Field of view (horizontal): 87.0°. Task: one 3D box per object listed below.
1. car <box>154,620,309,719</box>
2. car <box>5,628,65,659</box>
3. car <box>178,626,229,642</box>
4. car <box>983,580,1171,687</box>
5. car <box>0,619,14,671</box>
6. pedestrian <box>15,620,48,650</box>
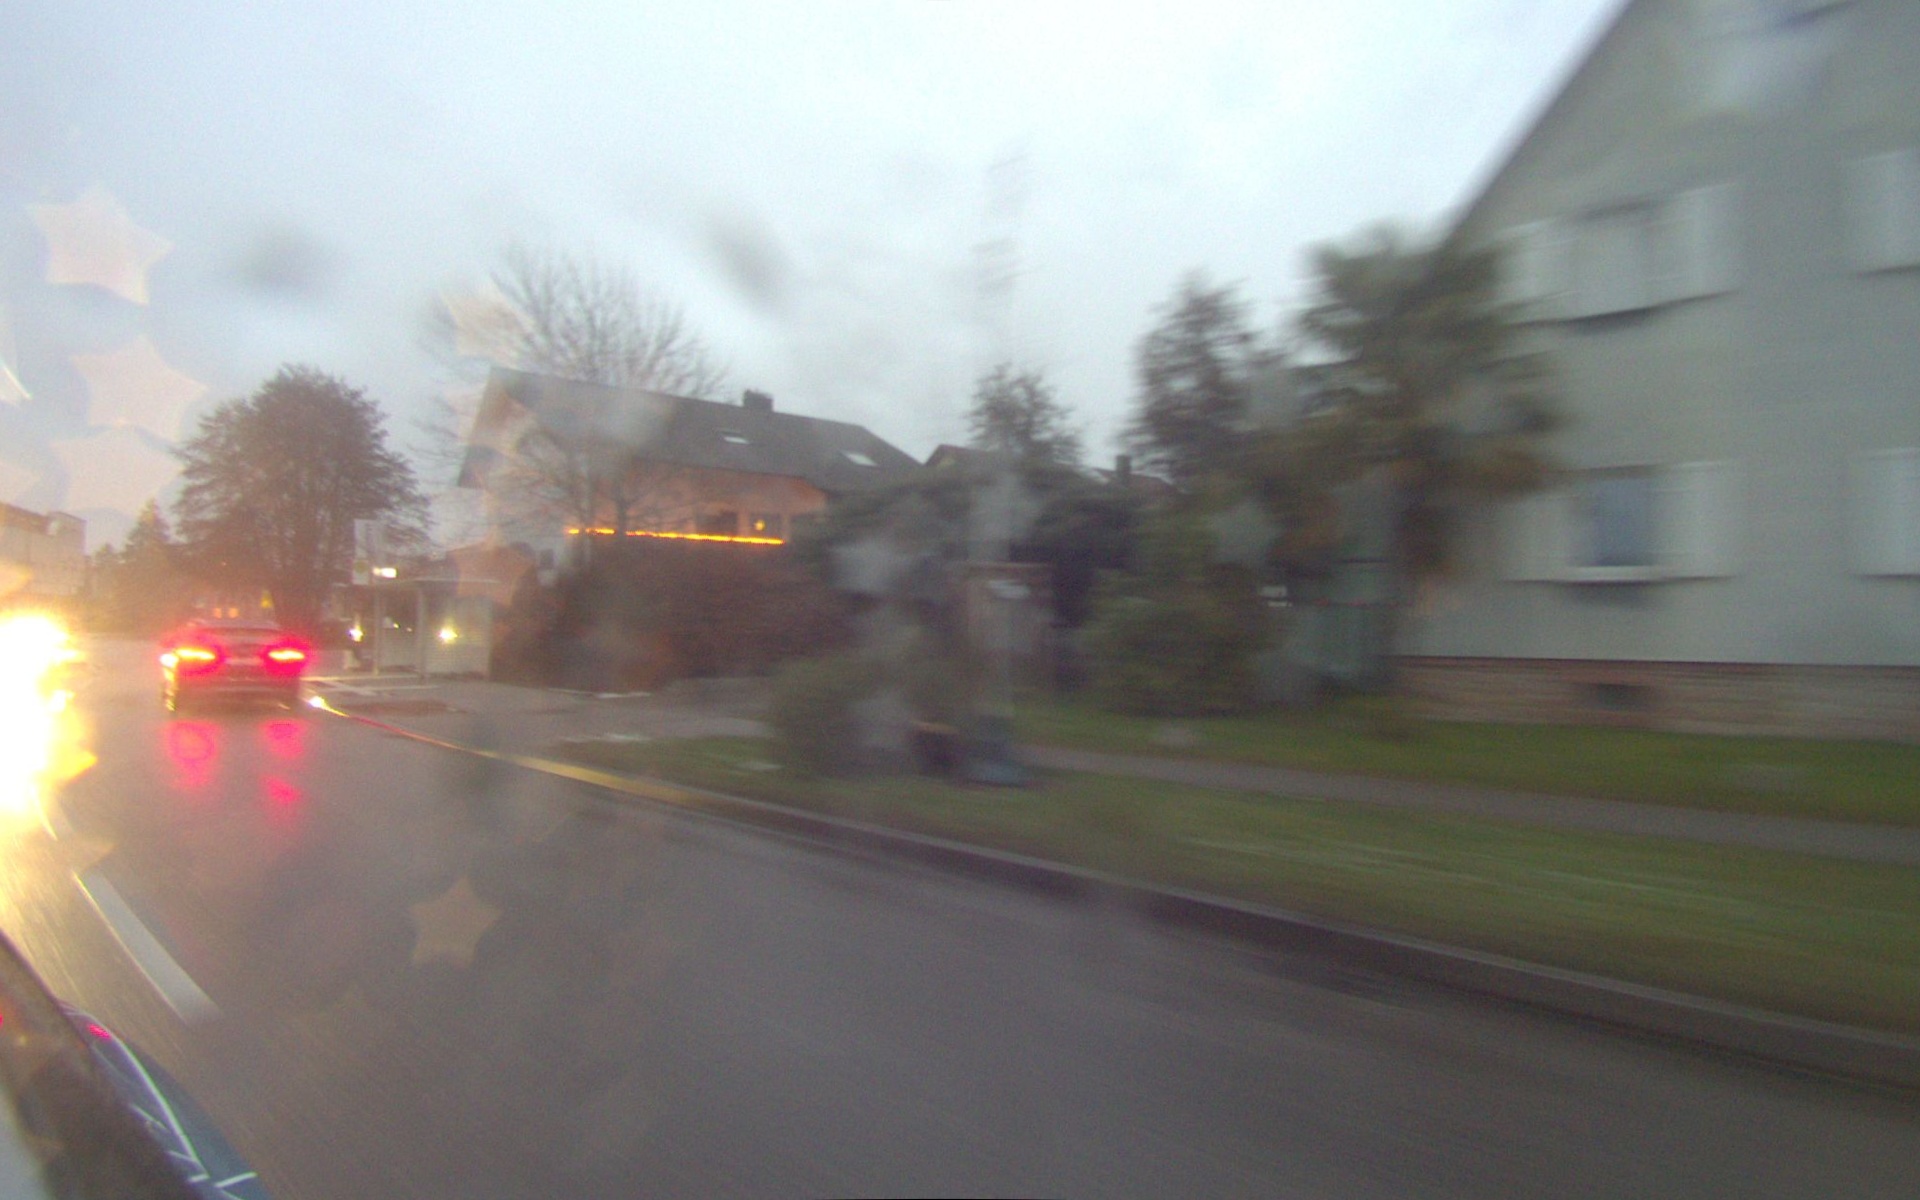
[{"bbox_3d":[-13.144,1.178,18.170,1.801,1.566,4.005,3,-3,-41],"label":"car"},{"bbox_3d":[-47.284,2.205,51.791,1.968,1.484,4.008,0,-2,-38],"label":"car"},{"bbox_3d":[-80.047,3.580,107.157,4.123,1.452,1.799,-1,-2,-45],"label":"car"},{"bbox_3d":[3.215,0.823,26.937,5.274,2.580,2.002,0,-1,-43],"label":"car"},{"bbox_3d":[-33.425,1.550,34.319,1.871,1.712,4.244,-2,0,-43],"label":"car"},{"bbox_3d":[-59.829,2.262,65.231,1.237,1.880,1.307,3,-3,-30],"label":"pedestrian"}]
